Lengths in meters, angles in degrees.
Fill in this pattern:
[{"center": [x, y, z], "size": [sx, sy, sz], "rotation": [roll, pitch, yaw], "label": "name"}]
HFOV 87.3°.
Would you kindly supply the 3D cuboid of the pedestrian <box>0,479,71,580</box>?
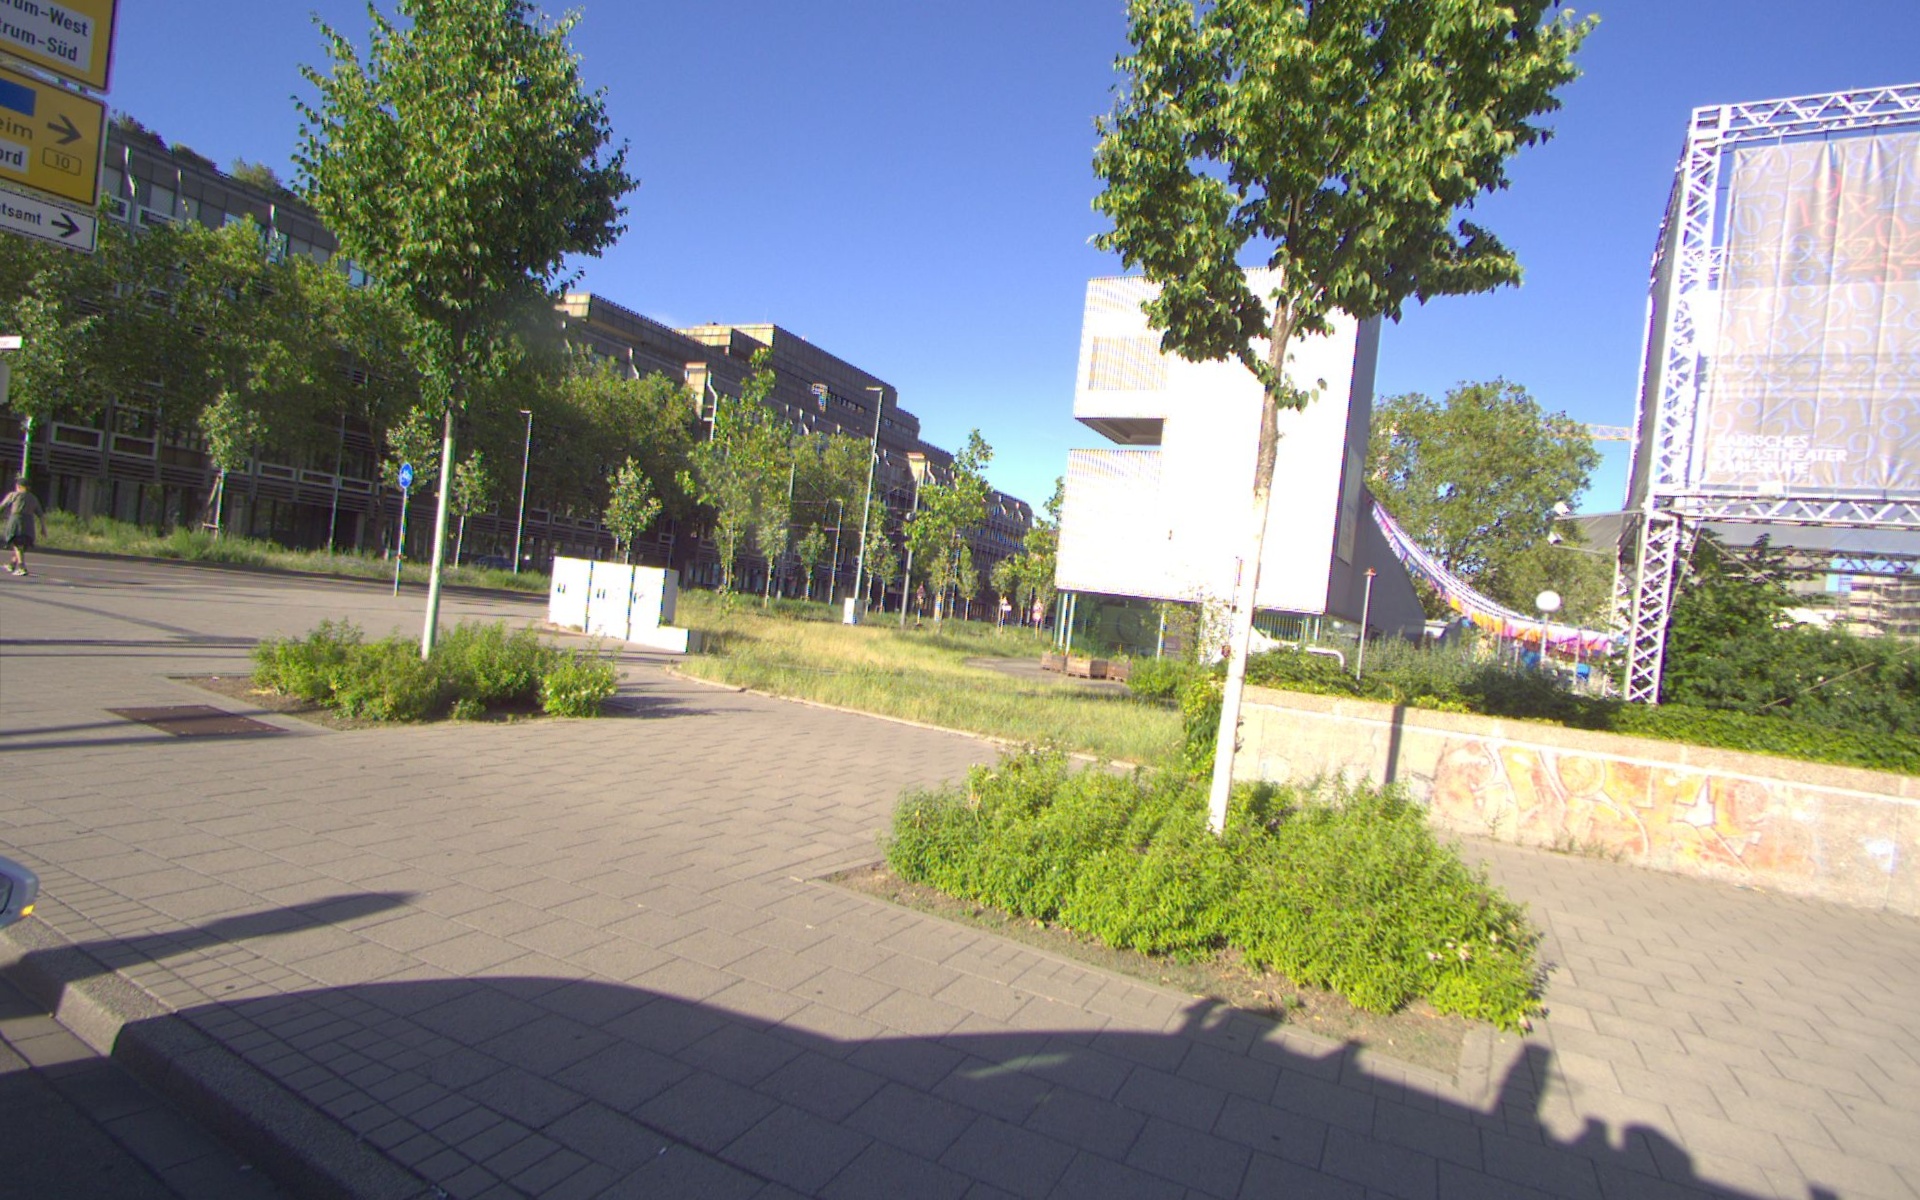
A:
[{"center": [-17.111, -1.286, 18.294], "size": [0.946, 1.684, 0.882], "rotation": [7, -1, 16], "label": "pedestrian"}]
